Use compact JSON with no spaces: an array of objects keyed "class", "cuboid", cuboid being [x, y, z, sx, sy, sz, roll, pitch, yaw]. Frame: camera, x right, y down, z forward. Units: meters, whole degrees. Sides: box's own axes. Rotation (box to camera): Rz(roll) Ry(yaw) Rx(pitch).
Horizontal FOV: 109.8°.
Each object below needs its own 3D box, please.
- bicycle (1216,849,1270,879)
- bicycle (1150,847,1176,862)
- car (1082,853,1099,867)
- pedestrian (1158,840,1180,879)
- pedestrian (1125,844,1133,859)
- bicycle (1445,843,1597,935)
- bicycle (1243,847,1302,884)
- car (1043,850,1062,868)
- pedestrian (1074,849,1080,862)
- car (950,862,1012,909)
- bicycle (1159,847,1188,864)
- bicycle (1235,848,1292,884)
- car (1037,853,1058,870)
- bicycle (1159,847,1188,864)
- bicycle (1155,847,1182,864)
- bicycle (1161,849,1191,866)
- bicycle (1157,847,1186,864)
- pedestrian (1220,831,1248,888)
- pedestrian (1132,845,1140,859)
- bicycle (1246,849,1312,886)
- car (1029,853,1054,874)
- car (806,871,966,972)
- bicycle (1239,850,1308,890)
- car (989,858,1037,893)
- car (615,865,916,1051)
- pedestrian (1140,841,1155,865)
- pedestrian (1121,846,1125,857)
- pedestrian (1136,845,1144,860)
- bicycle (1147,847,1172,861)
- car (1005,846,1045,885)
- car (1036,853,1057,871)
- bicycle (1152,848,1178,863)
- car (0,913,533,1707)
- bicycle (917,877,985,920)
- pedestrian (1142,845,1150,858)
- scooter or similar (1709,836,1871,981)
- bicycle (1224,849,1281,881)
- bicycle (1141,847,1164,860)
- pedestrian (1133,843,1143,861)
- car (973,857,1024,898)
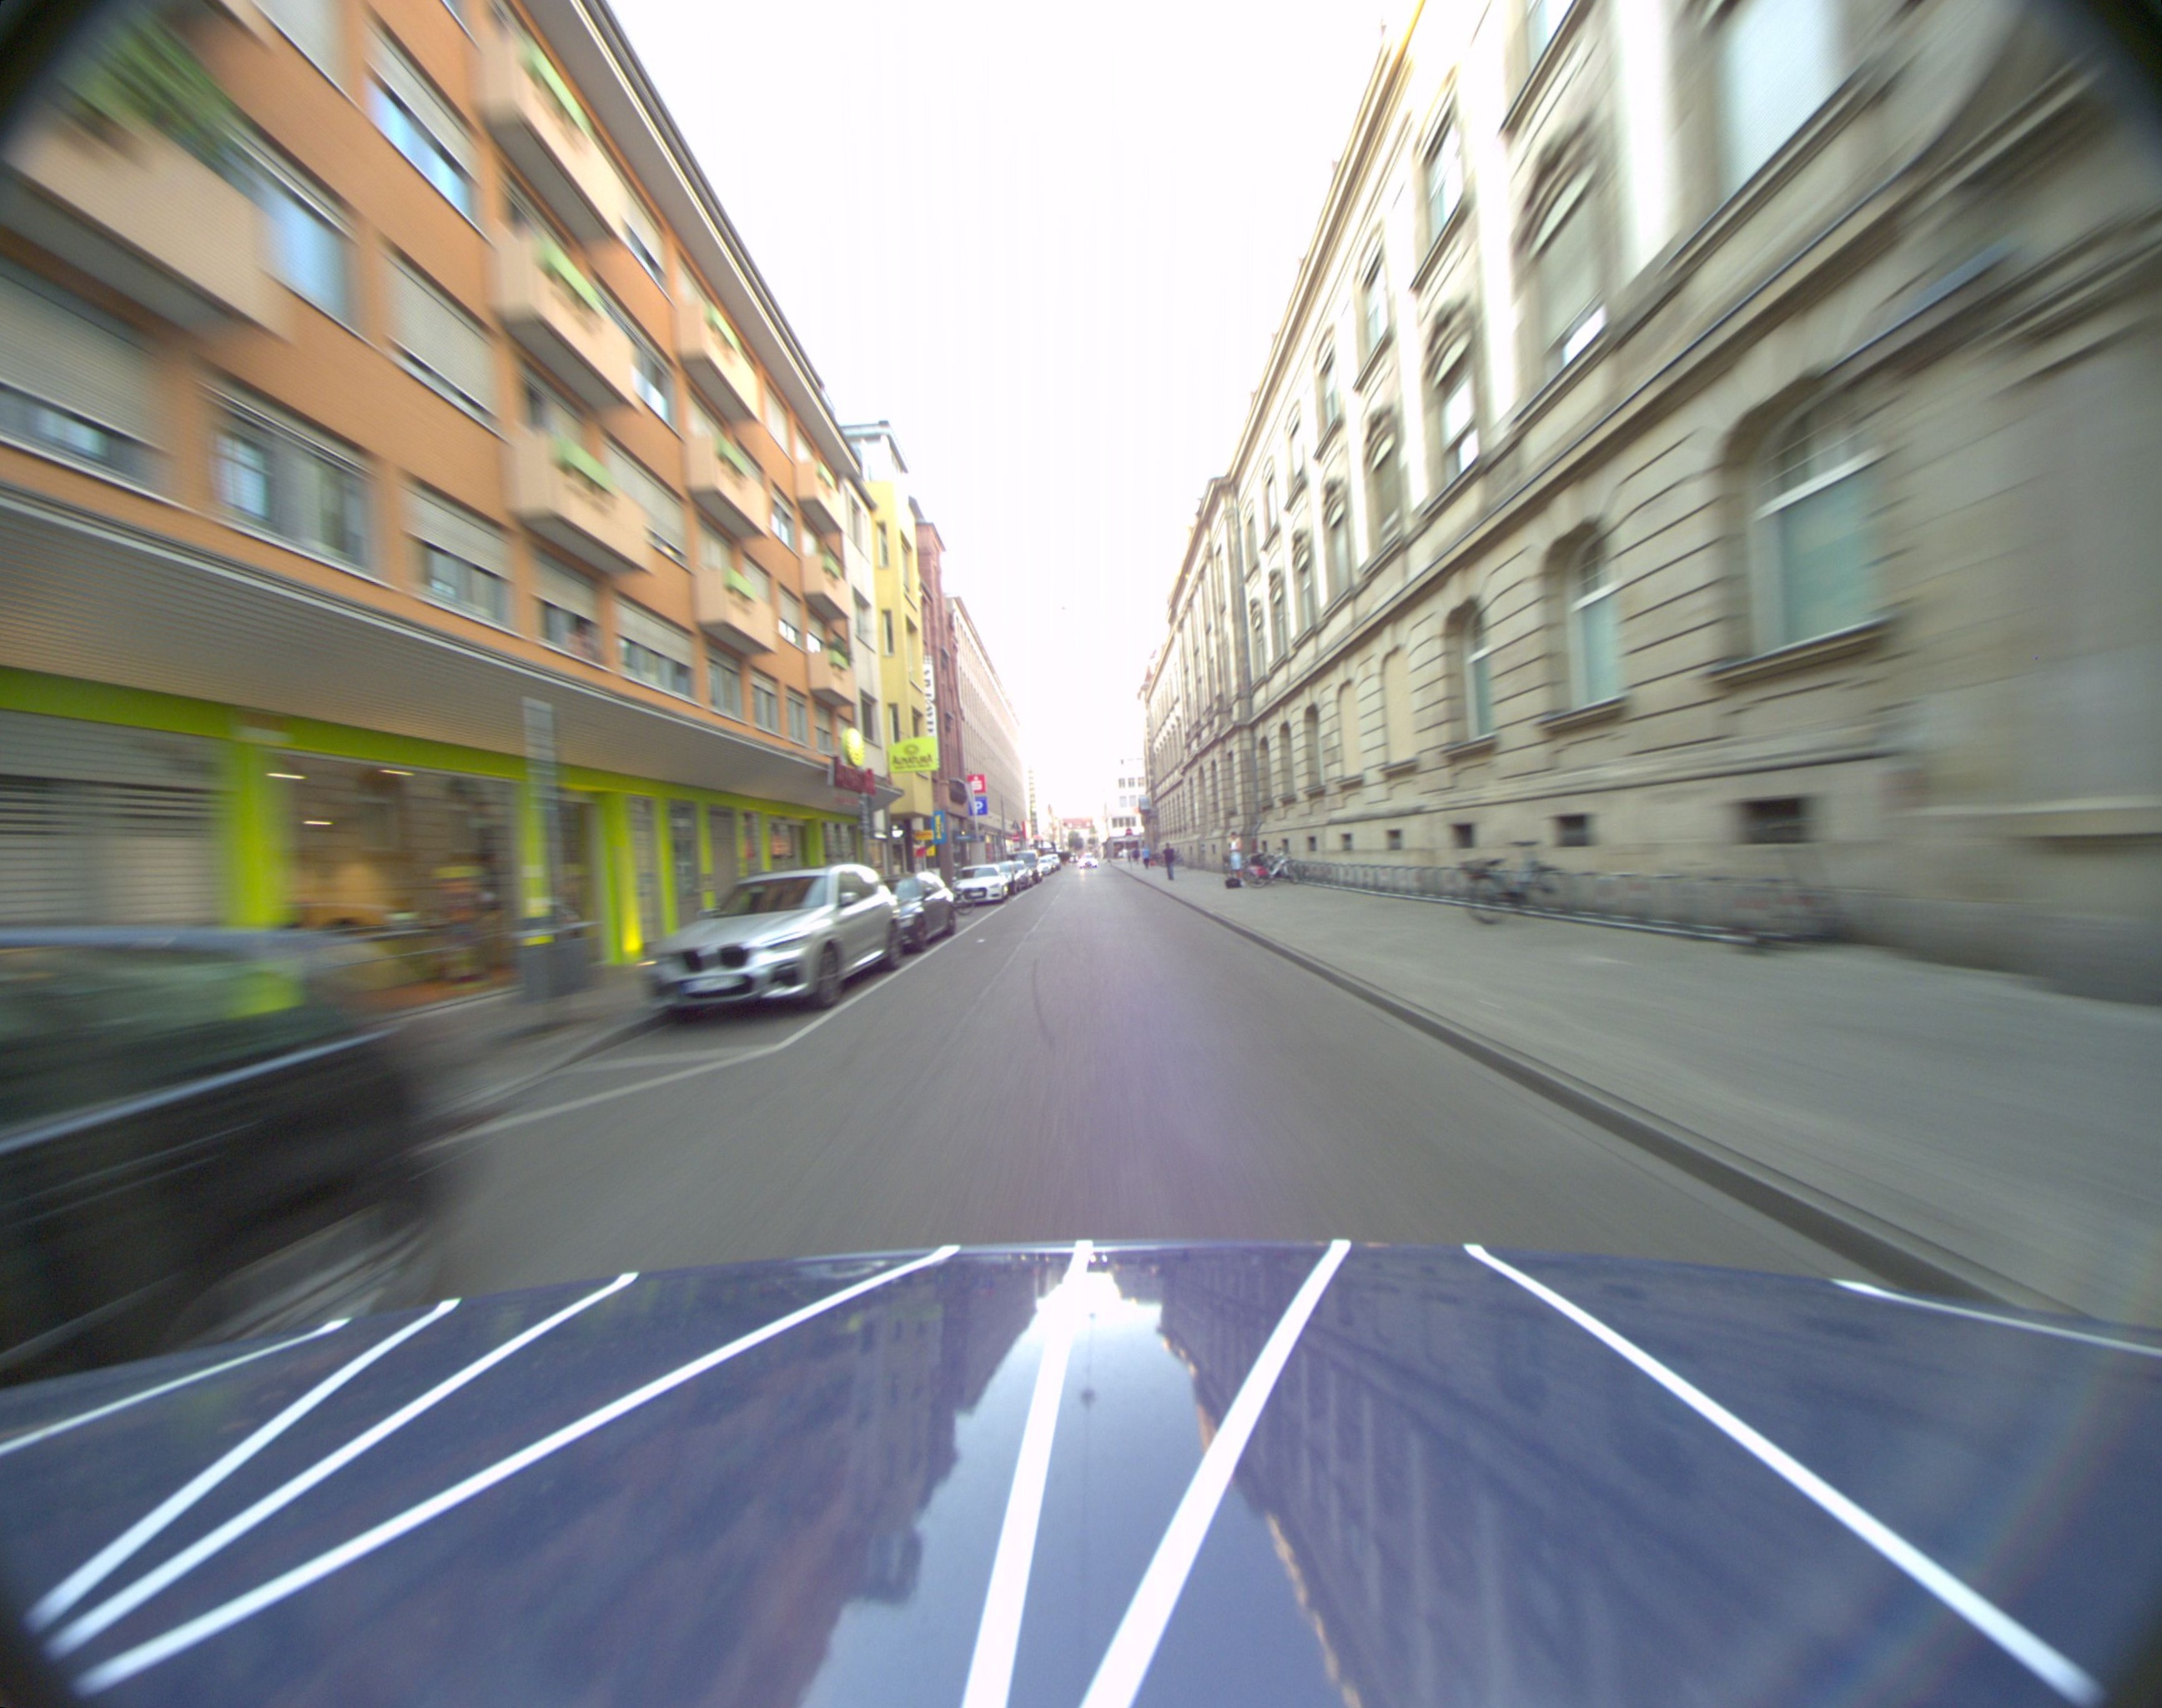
[{"class":"bicycle","cuboid":[6.472,0.395,30.384,1.942,1.055,0.619,-5,1,0]},{"class":"bicycle","cuboid":[6.903,0.039,63.820,1.943,1.072,0.730,-5,1,-6]},{"class":"car","cuboid":[0.977,0.613,80.075,1.741,1.407,4.681,-1,0,-1]},{"class":"pedestrian","cuboid":[4.096,0.234,35.450,0.811,1.740,0.969,-5,1,1]},{"class":"pedestrian","cuboid":[5.863,-0.340,92.302,0.727,1.732,0.839,-7,1,3]},{"class":"bicycle","cuboid":[6.362,0.482,10.995,1.944,1.055,0.619,-7,2,-14]},{"class":"bicycle","cuboid":[6.490,0.391,25.716,1.799,1.101,0.500,-5,2,-5]},{"class":"car","cuboid":[-2.956,0.505,79.216,1.781,1.656,4.812,-5,1,-1]},{"class":"pedestrian","cuboid":[-0.537,0.185,101.414,0.687,1.751,0.799,-3,1,-7]},{"class":"car","cuboid":[-3.584,1.089,27.913,1.696,1.403,4.638,-6,0,-2]},{"class":"bicycle","cuboid":[6.914,0.124,56.920,1.943,1.072,0.730,-5,1,-6]},{"class":"bicycle","cuboid":[6.457,0.430,26.917,1.799,1.101,0.500,-5,2,-5]},{"class":"car","cuboid":[-3.204,0.678,73.736,1.661,1.439,3.868,-5,1,1]},{"class":"bicycle","cuboid":[6.762,0.086,55.655,1.942,1.072,0.748,-5,1,0]},{"class":"bicycle","cuboid":[6.785,0.107,59.009,1.943,1.072,0.730,-5,1,-6]},{"class":"bicycle","cuboid":[6.840,0.248,54.738,1.940,1.040,0.721,-4,1,-3]},{"class":"bicycle","cuboid":[6.853,0.108,57.692,1.943,1.072,0.730,-5,1,-6]},{"class":"pedestrian","cuboid":[5.146,0.172,25.549,0.589,1.840,0.754,-5,1,-5]},{"class":"pedestrian","cuboid":[6.666,-0.235,92.264,0.731,1.658,0.858,-7,1,3]},{"class":"bicycle","cuboid":[6.475,0.434,24.902,1.943,1.055,0.619,-5,1,-5]},{"class":"car","cuboid":[-3.205,0.751,62.215,1.661,1.439,4.307,-5,1,0]},{"class":"car","cuboid":[-3.615,1.185,15.060,1.695,1.406,4.756,-6,0,1]},{"class":"bicycle","cuboid":[6.032,0.492,23.867,1.942,1.055,0.619,-5,2,-1]},{"class":"car","cuboid":[-3.347,1.018,38.195,1.691,1.445,4.498,-6,0,2]},{"class":"car","cuboid":[-3.725,1.089,10.091,1.756,1.658,4.756,-6,0,1]},{"class":"pedestrian","cuboid":[4.923,-0.064,56.215,0.831,1.736,0.769,-6,1,1]},{"class":"pedestrian","cuboid":[7.091,-0.422,128.109,0.545,1.698,0.558,-4,1,1]},{"class":"pedestrian","cuboid":[7.280,-0.159,94.028,0.718,1.819,0.870,-7,1,8]},{"class":"bicycle","cuboid":[6.962,0.004,67.332,1.943,1.072,0.730,-5,1,-5]},{"class":"car","cuboid":[-3.270,0.642,45.279,1.851,2.046,5.053,-5,1,0]},{"class":"car","cuboid":[-3.084,0.691,68.187,1.661,1.439,4.444,-5,1,-1]},{"class":"bicycle","cuboid":[6.911,0.116,62.633,1.943,1.072,0.730,-5,1,-6]},{"class":"car","cuboid":[-3.342,1.134,0.837,1.798,1.600,4.488,-6,0,5]},{"class":"bicycle","cuboid":[-3.734,1.277,21.913,1.740,1.049,0.658,-5,1,-40]},{"class":"pedestrian","cuboid":[8.073,-0.312,93.896,0.757,1.632,0.749,-7,1,8]},{"class":"scooter or similar","cuboid":[6.710,0.490,7.202,1.136,1.225,0.496,-5,1,-11]},{"class":"bicycle","cuboid":[6.576,0.411,29.135,1.943,1.055,0.619,-5,1,-5]},{"class":"bicycle","cuboid":[6.884,-0.073,73.636,2.024,1.102,0.730,-5,1,-5]},{"class":"pedestrian","cuboid":[5.696,-0.213,75.733,0.778,1.778,0.820,-4,1,-2]},{"class":"car","cuboid":[-3.528,0.958,33.083,1.622,1.507,4.173,-6,0,0]}]
